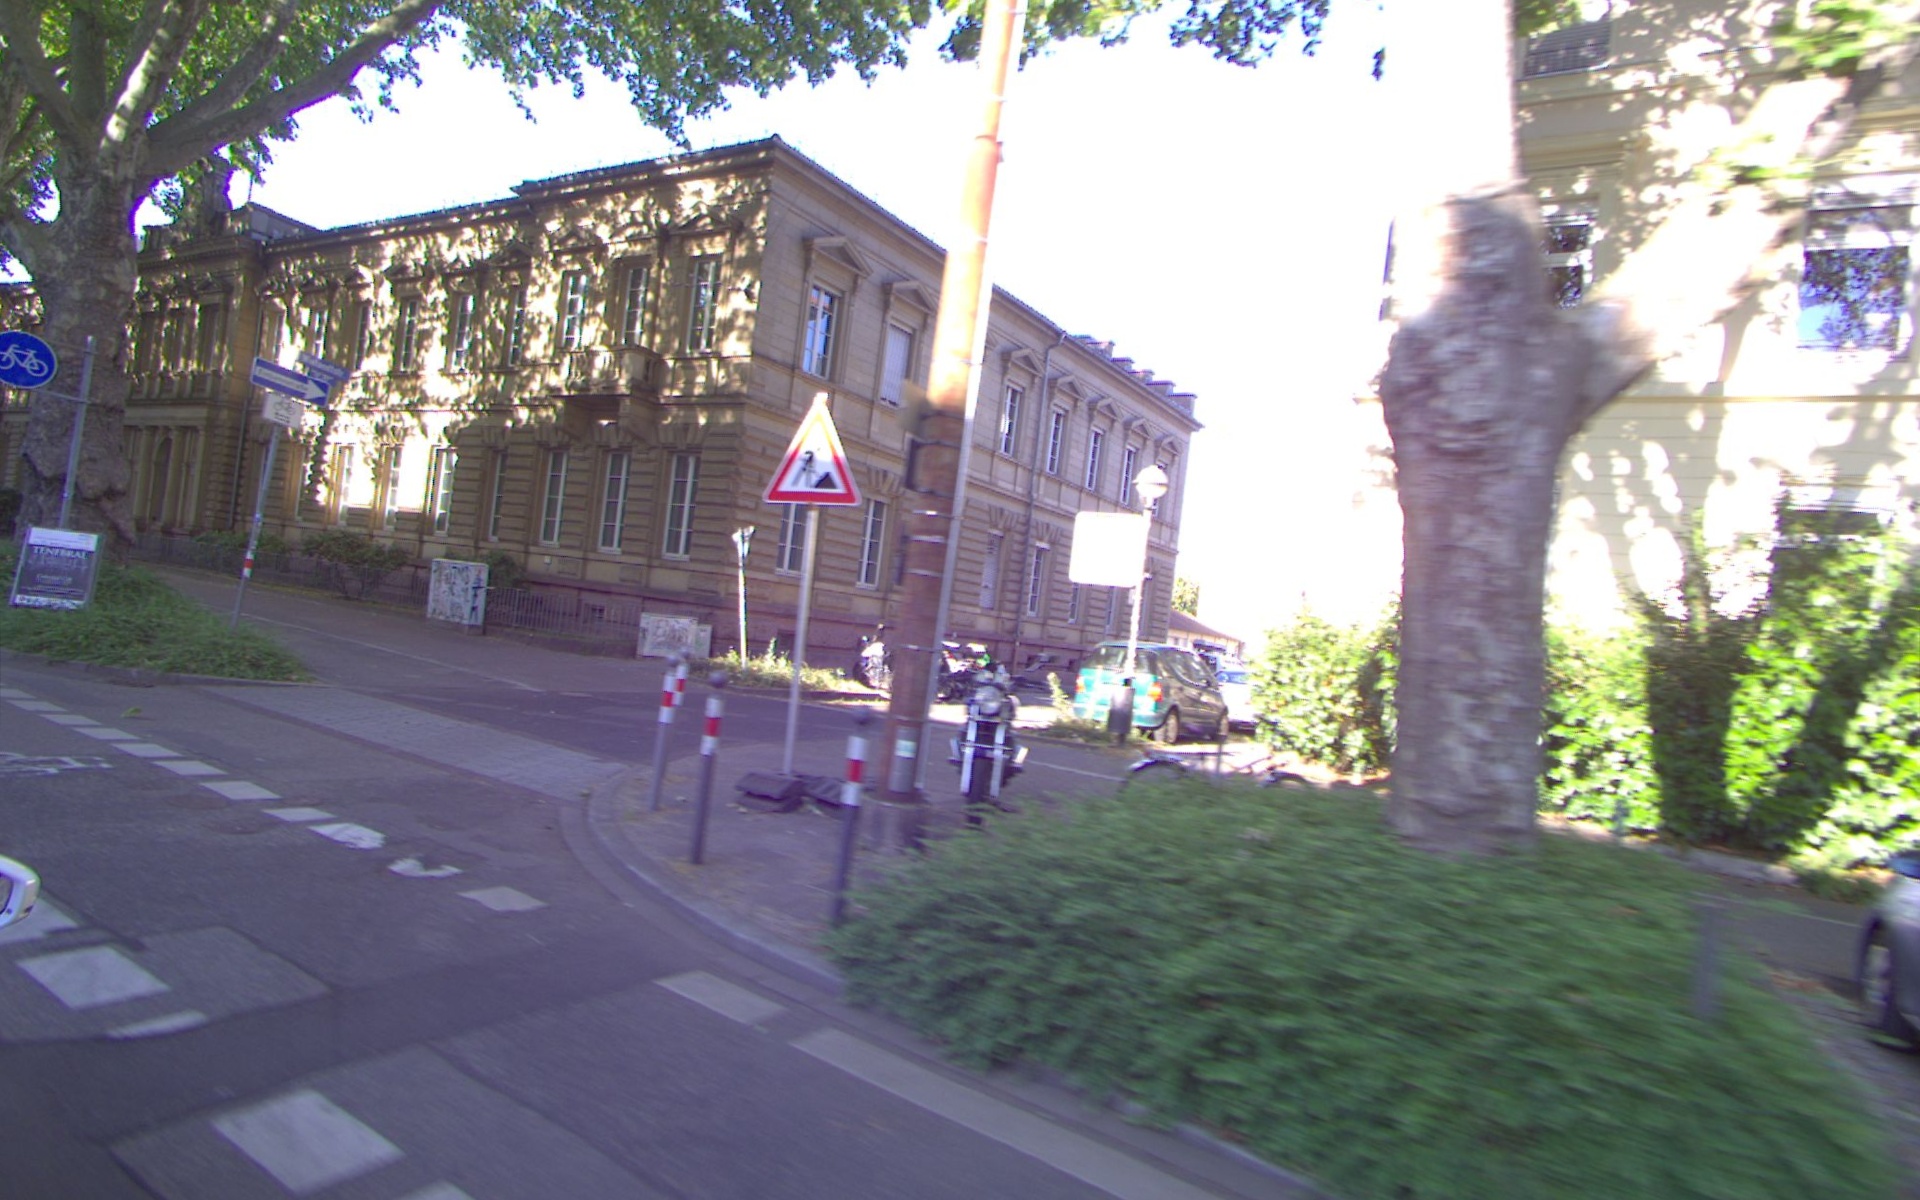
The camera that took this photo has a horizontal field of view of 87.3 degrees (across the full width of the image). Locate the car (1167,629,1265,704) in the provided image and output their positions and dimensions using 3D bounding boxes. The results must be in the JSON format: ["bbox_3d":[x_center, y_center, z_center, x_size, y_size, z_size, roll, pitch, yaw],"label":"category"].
[{"bbox_3d":[9.453,2.472,36.907,1.927,2.375,4.364,4,-3,35],"label":"car"}]

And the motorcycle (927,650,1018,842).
[{"bbox_3d":[0.137,1.054,7.920,0.466,1.241,2.174,7,-3,3],"label":"motorcycle"}]

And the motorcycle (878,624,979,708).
[{"bbox_3d":[-0.689,1.356,21.096,0.566,1.448,2.258,9,-1,-44],"label":"motorcycle"}]

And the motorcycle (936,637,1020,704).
[{"bbox_3d":[0.395,1.596,23.044,0.493,1.311,2.159,9,-4,-40],"label":"motorcycle"}]

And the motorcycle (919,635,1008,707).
[{"bbox_3d":[0.049,1.516,21.845,0.493,1.311,2.158,9,-2,-40],"label":"motorcycle"}]

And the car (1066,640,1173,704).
[{"bbox_3d":[4.709,2.136,29.328,1.606,1.568,3.474,4,-3,36],"label":"car"}]

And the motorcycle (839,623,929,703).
[{"bbox_3d":[-1.568,1.246,20.329,0.493,1.311,2.158,9,-1,-40],"label":"motorcycle"}]

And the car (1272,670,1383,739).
[{"bbox_3d":[9.275,2.628,25.207,1.631,1.429,4.079,4,-3,34],"label":"car"}]

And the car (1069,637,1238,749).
[{"bbox_3d":[3.342,1.551,16.934,1.604,1.607,3.477,2,-3,32],"label":"car"}]

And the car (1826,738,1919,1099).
[{"bbox_3d":[4.941,1.516,3.855,1.653,1.526,3.757,7,0,30],"label":"car"}]

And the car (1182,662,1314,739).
[{"bbox_3d":[6.181,2.153,21.357,1.605,1.340,3.661,4,-3,33],"label":"car"}]
